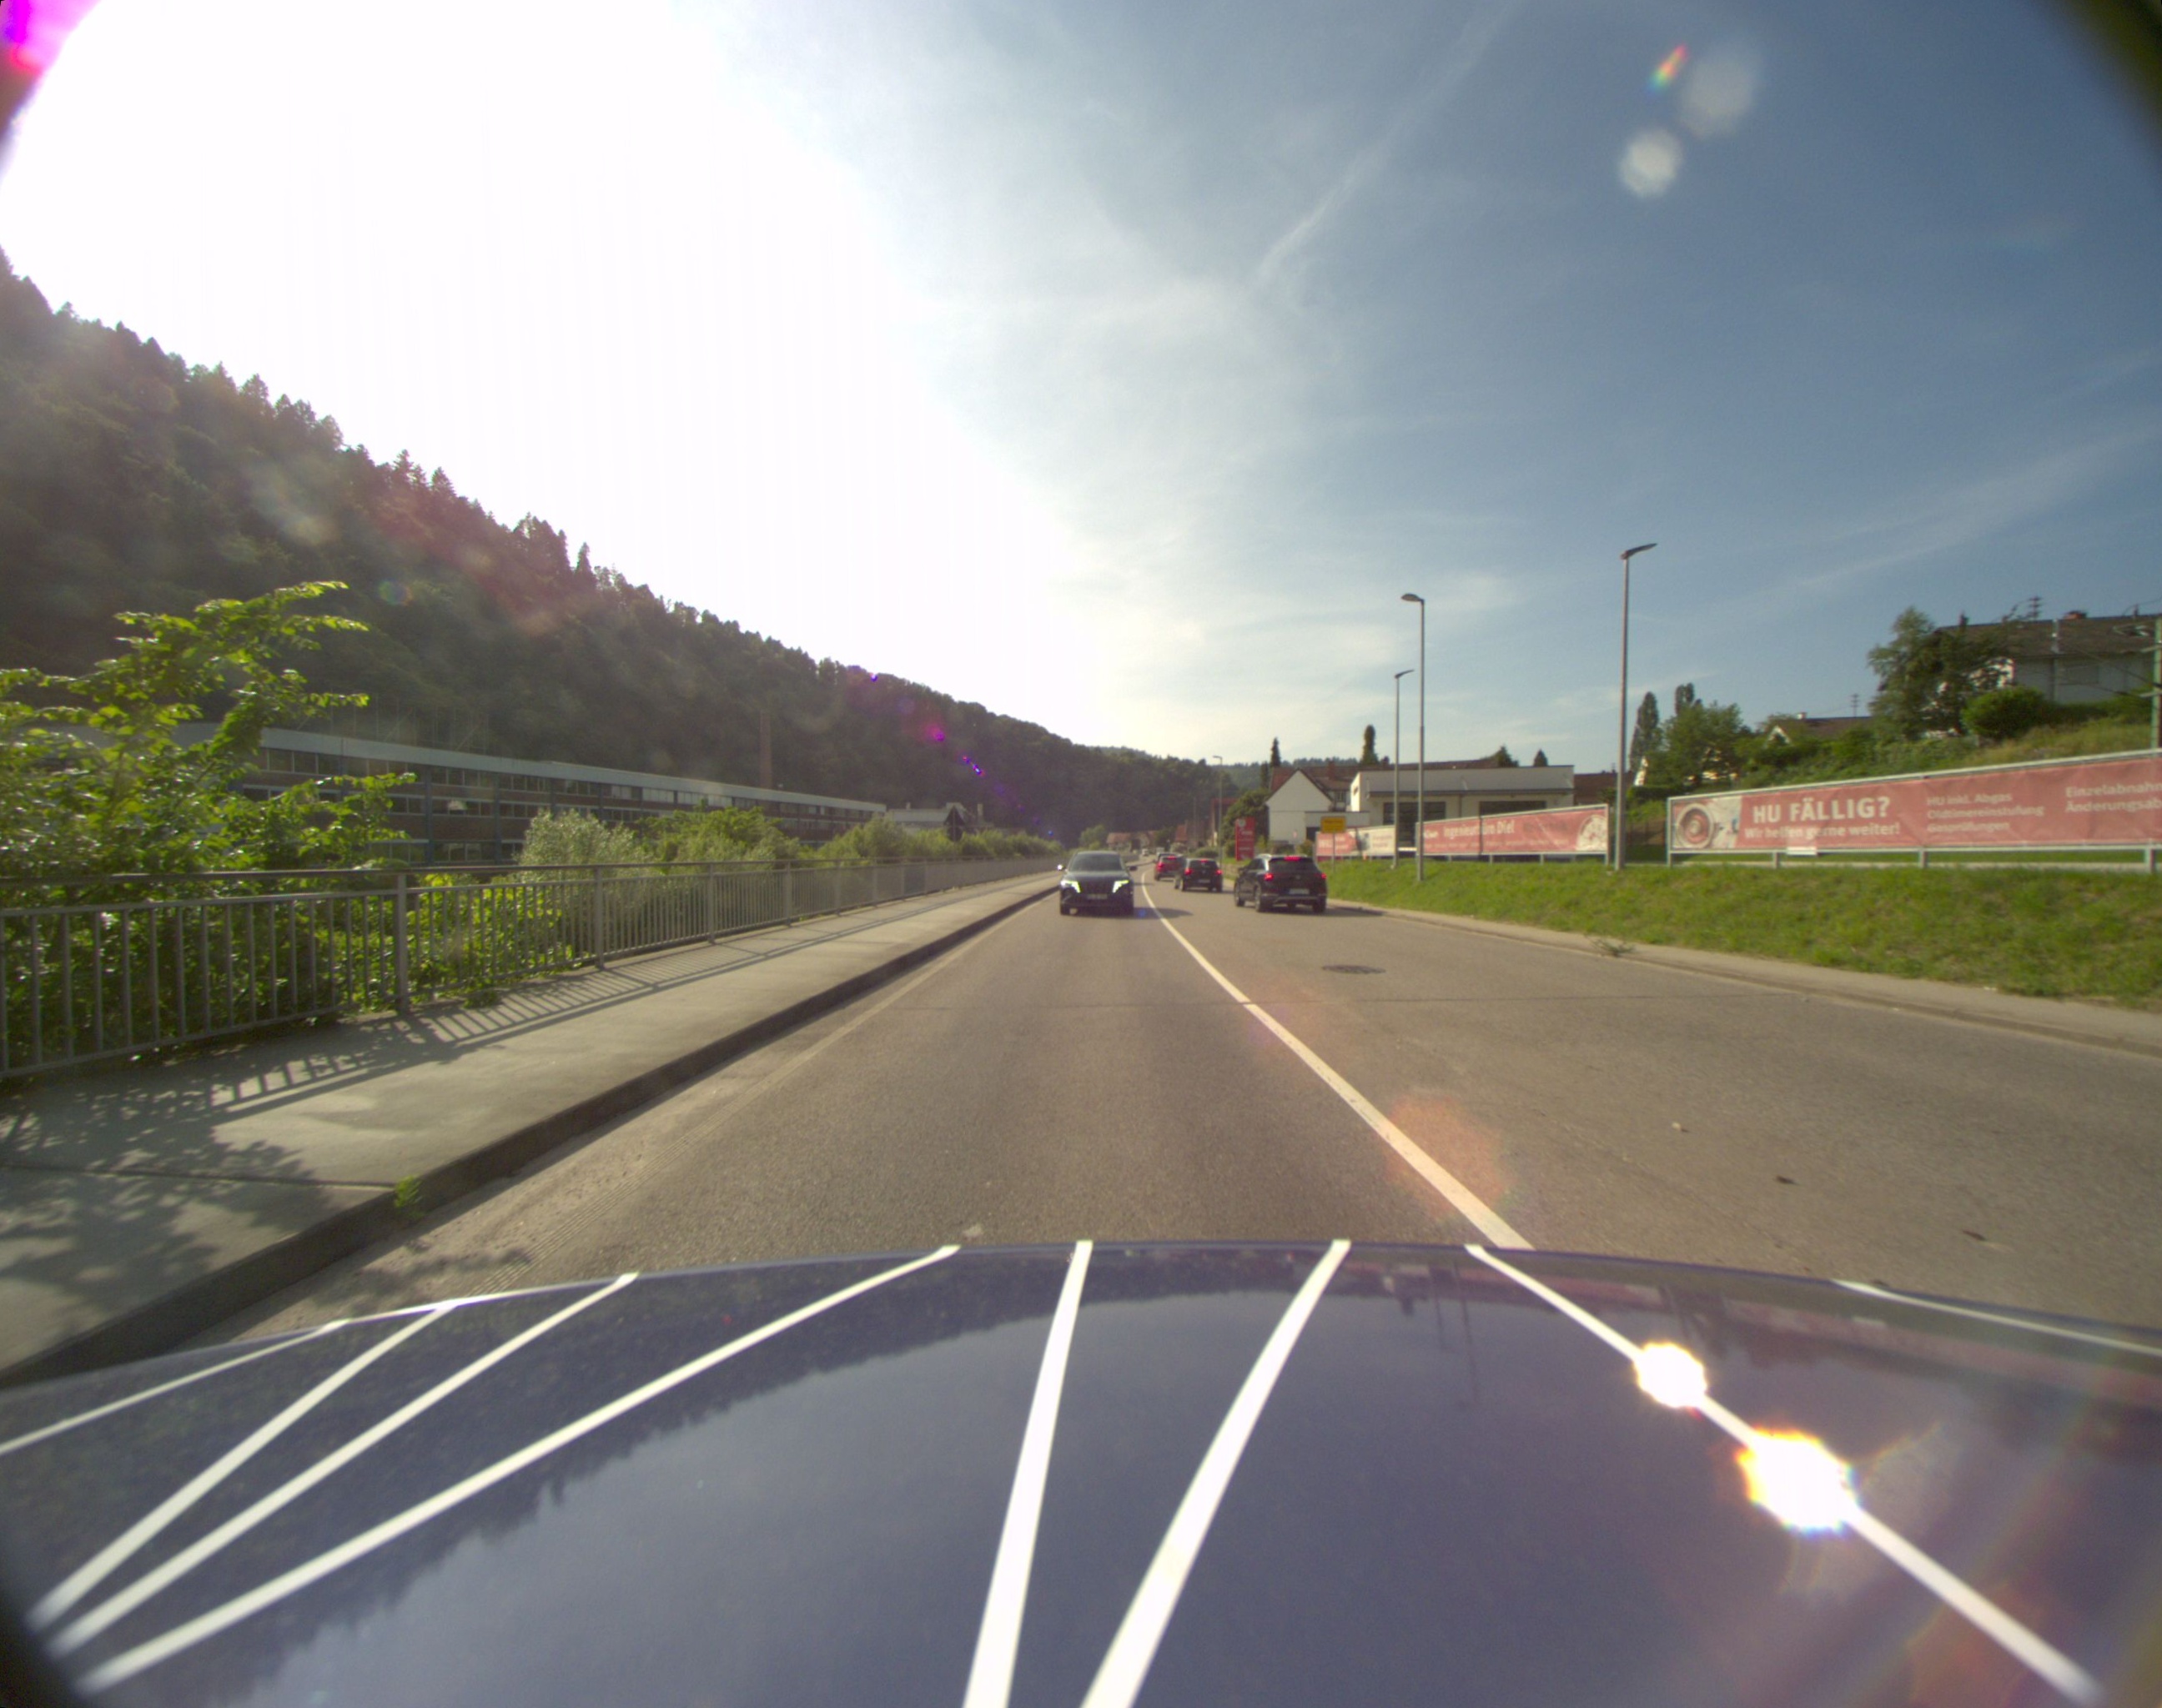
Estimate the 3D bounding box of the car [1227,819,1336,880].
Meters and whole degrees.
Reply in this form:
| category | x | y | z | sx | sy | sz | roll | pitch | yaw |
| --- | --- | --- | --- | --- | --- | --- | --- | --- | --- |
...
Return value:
| category | x | y | z | sx | sy | sz | roll | pitch | yaw |
| --- | --- | --- | --- | --- | --- | --- | --- | --- | --- |
| car | 5.447 | -0.156 | 21.227 | 1.779 | 1.507 | 4.270 | 1 | 1 | -2 |

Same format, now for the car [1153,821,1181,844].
| category | x | y | z | sx | sy | sz | roll | pitch | yaw |
| --- | --- | --- | --- | --- | --- | --- | --- | --- | --- |
| car | 7.176 | -1.803 | 63.650 | 1.901 | 1.877 | 5.295 | 0 | 1 | 2 |

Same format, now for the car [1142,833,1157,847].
| category | x | y | z | sx | sy | sz | roll | pitch | yaw |
| --- | --- | --- | --- | --- | --- | --- | --- | --- | --- |
| car | 8.287 | -1.672 | 91.411 | 1.800 | 1.609 | 4.463 | 0 | 1 | 6 |

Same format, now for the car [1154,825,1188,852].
| category | x | y | z | sx | sy | sz | roll | pitch | yaw |
| --- | --- | --- | --- | --- | --- | --- | --- | --- | --- |
| car | 5.561 | -0.974 | 47.395 | 1.710 | 1.575 | 4.158 | 0 | 1 | 2 |

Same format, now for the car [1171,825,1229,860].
| category | x | y | z | sx | sy | sz | roll | pitch | yaw |
| --- | --- | --- | --- | --- | --- | --- | --- | --- | --- |
| car | 5.182 | -0.552 | 33.583 | 1.779 | 1.400 | 4.270 | 2 | 2 | -2 |

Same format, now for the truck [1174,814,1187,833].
| category | x | y | z | sx | sy | sz | roll | pitch | yaw |
| --- | --- | --- | --- | --- | --- | --- | --- | --- | --- |
| truck | 21.613 | -6.540 | 165.692 | 2.583 | 3.910 | 11.308 | 1 | 2 | 7 |

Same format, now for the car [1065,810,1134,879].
| category | x | y | z | sx | sy | sz | roll | pitch | yaw |
| --- | --- | --- | --- | --- | --- | --- | --- | --- | --- |
| car | 0.461 | -0.278 | 20.269 | 1.649 | 1.640 | 3.999 | 0 | 2 | 0 |
